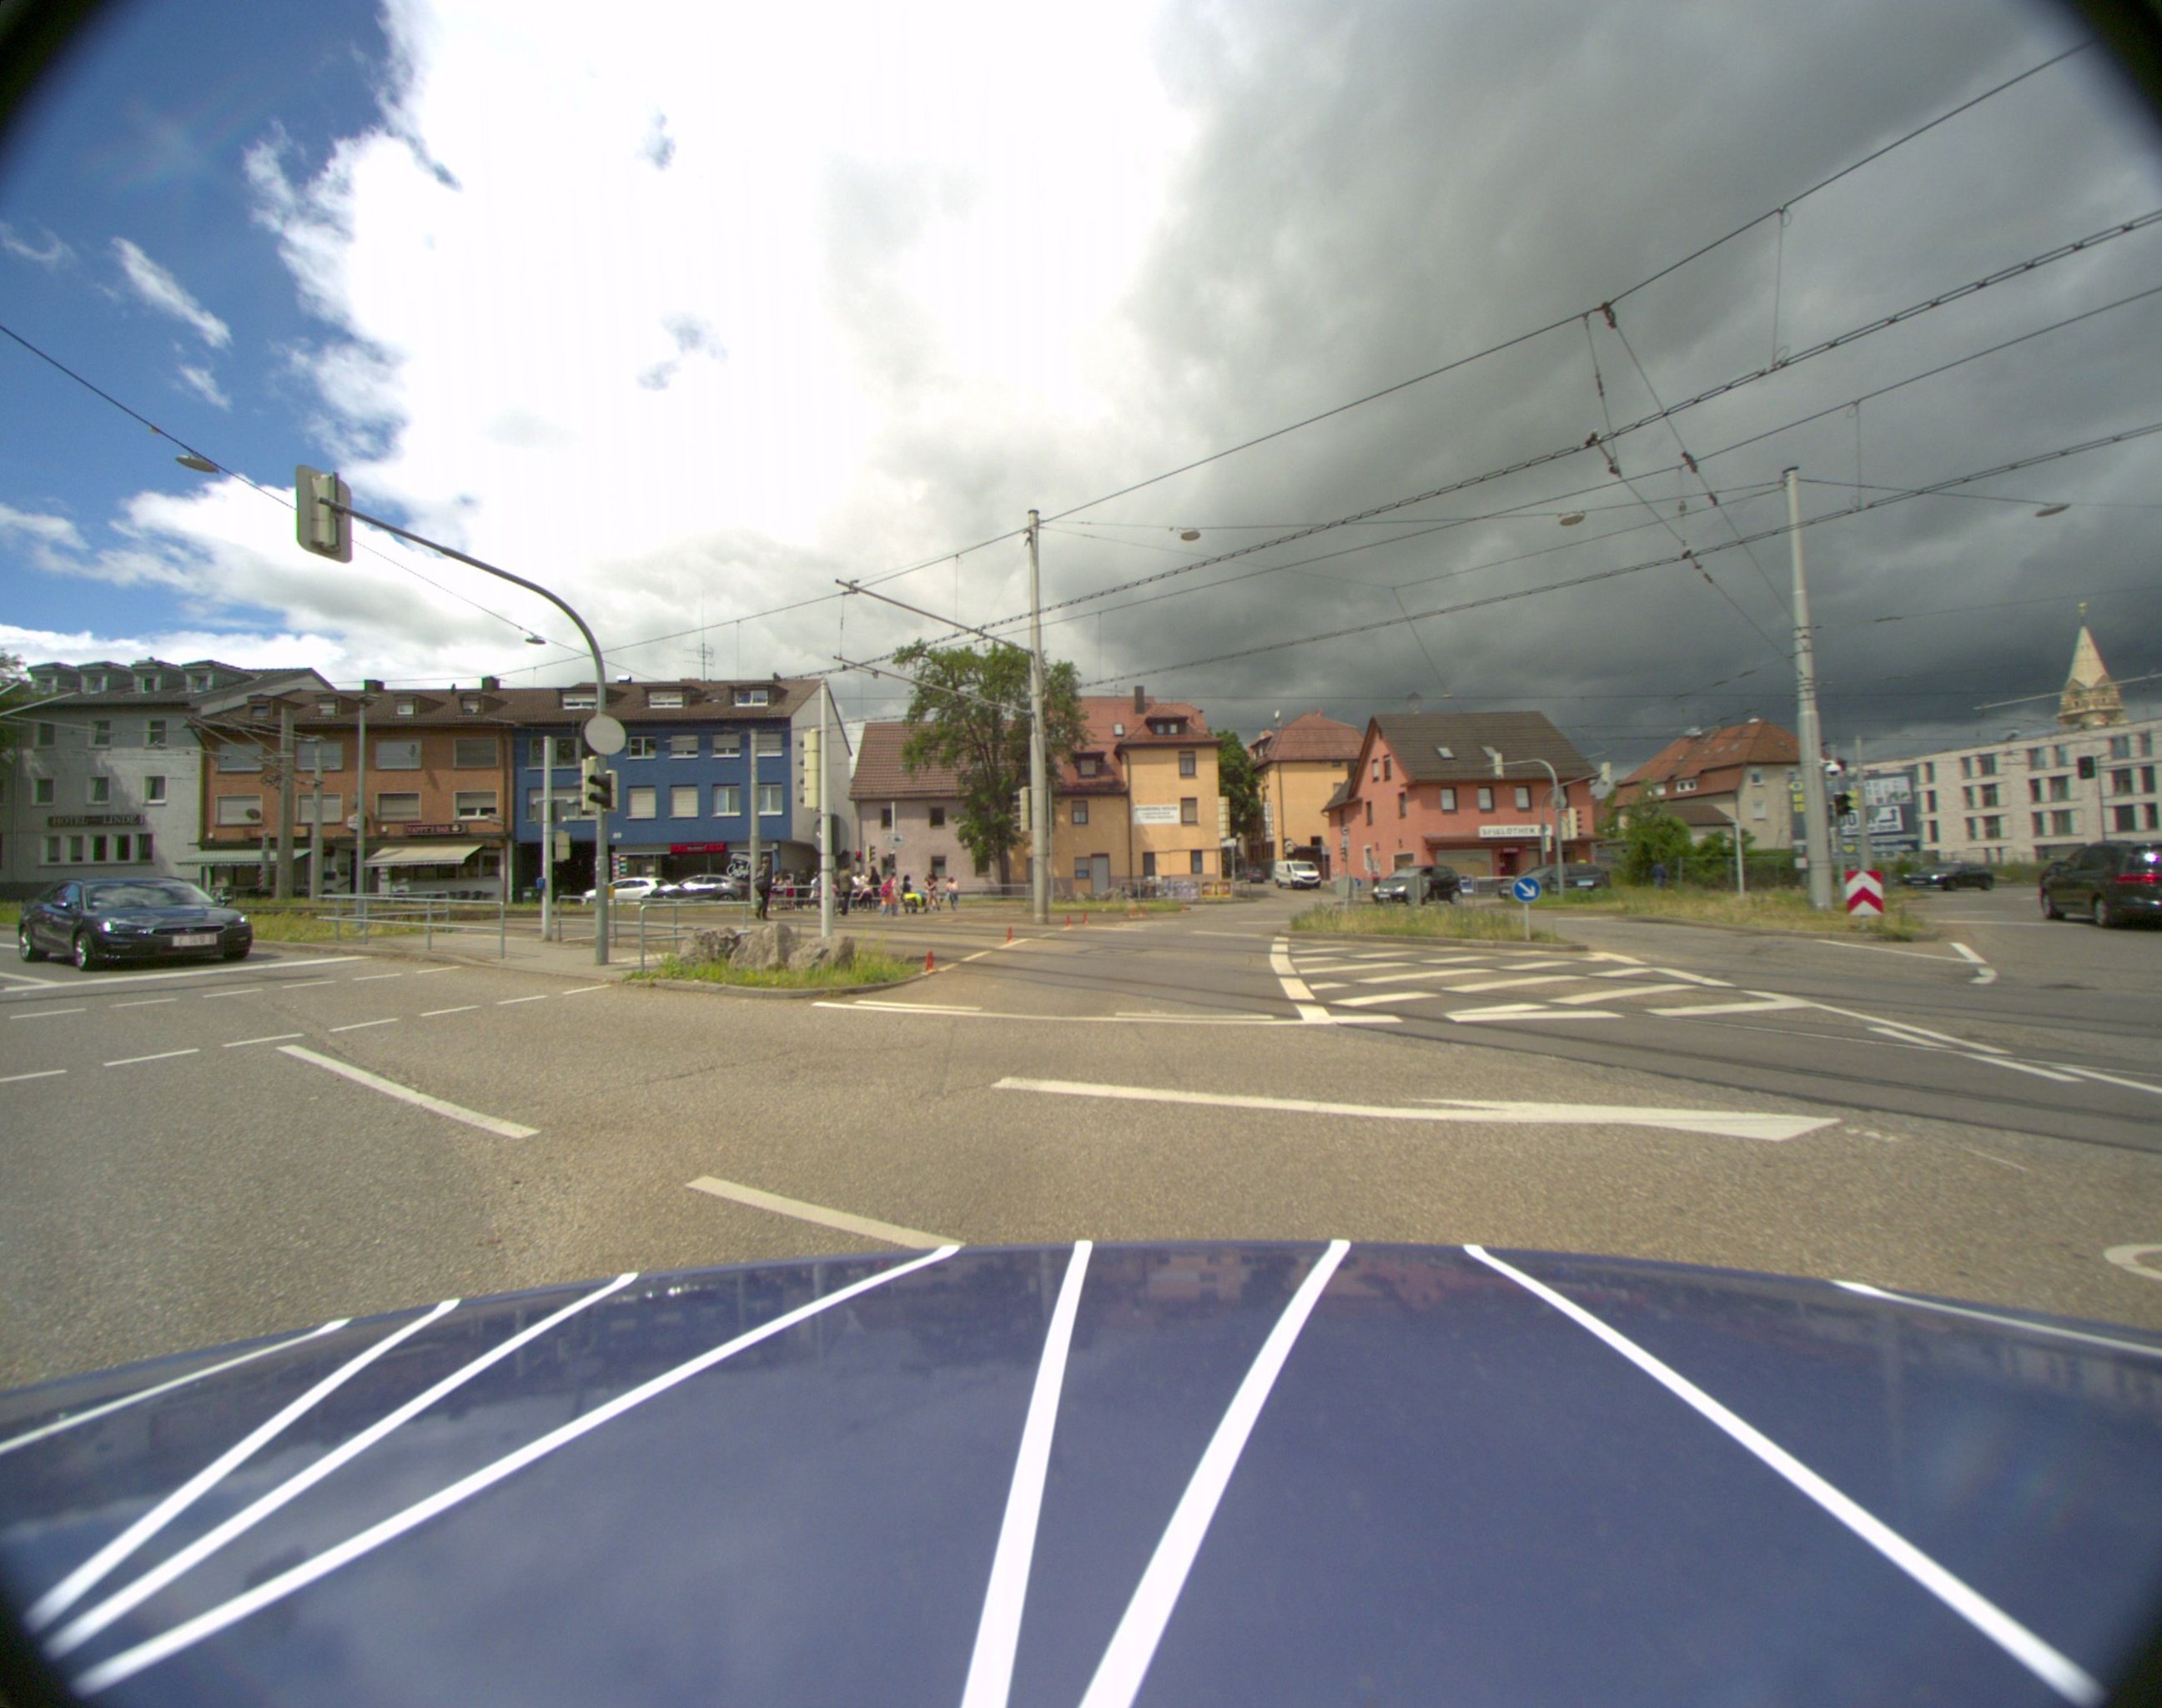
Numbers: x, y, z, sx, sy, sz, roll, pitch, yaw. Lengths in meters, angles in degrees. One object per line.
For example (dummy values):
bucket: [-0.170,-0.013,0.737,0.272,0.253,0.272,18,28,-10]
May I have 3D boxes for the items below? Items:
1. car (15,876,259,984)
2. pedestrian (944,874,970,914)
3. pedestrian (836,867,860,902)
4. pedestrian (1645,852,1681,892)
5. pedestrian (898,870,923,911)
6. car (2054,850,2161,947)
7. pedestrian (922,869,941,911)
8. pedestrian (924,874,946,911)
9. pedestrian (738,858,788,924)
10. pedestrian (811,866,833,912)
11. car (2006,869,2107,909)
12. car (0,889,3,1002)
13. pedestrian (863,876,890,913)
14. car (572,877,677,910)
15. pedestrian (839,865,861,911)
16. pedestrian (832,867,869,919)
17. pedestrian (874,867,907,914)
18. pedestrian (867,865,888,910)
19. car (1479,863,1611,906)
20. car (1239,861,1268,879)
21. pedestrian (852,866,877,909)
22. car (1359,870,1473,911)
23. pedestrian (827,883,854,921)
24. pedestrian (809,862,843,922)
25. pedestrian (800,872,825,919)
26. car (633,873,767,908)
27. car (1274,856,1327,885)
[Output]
car: [-16.140,1.180,12.973,4.083,1.430,1.743,1,2,26]
pedestrian: [-4.566,1.461,28.020,0.781,1.461,0.540,0,-1,-42]
pedestrian: [-9.199,1.201,30.055,0.674,1.367,0.635,-1,-1,10]
pedestrian: [31.166,0.967,40.710,1.127,2.135,1.052,-1,-1,1]
pedestrian: [-6.233,1.324,27.757,0.586,1.483,0.676,-1,0,24]
car: [19.983,0.738,14.070,1.806,1.571,4.305,-1,0,44]
pedestrian: [-5.469,1.296,27.781,0.587,1.518,0.675,-1,0,-3]
pedestrian: [-5.650,1.470,29.379,0.586,1.392,0.676,-1,-1,15]
pedestrian: [-9.107,1.057,21.793,0.824,1.830,0.969,0,-2,24]
pedestrian: [-10.143,1.363,29.787,0.675,1.740,0.587,0,2,-2]
car: [43.682,1.498,34.145,1.948,1.560,4.498,2,1,42]
car: [-16.402,1.226,9.679,4.314,1.456,2.056,-1,0,21]
pedestrian: [-7.776,1.535,28.909,0.779,1.367,0.588,-1,2,10]
car: [-21.885,1.890,36.516,3.998,1.522,1.713,-1,-2,-2]
pedestrian: [-8.826,1.286,29.034,0.675,1.740,0.587,0,2,-2]
pedestrian: [-7.476,1.249,24.614,0.894,1.641,0.824,0,-1,-38]
pedestrian: [-6.143,1.161,24.501,0.856,1.472,0.740,0,-1,-32]
pedestrian: [-7.939,1.308,29.679,0.675,1.740,0.587,0,2,-2]
car: [19.463,1.290,31.977,4.420,1.639,1.999,-1,-2,-9]
car: [14.653,1.380,64.690,1.561,1.362,3.133,-2,-3,-3]
pedestrian: [-8.000,1.253,28.078,0.674,1.555,0.588,-2,-2,11]
car: [13.087,1.410,29.679,4.005,1.419,1.880,-1,-3,-26]
pedestrian: [-7.481,1.477,23.621,0.676,1.160,0.586,0,-1,-32]
pedestrian: [-7.520,1.100,22.394,0.694,1.739,0.750,0,-1,-44]
pedestrian: [-10.171,1.566,28.755,0.754,1.739,0.586,0,-1,-32]
car: [-16.551,1.592,33.169,4.853,1.362,1.920,-2,-2,-3]
car: [15.403,1.142,53.584,2.080,1.886,4.662,-2,-1,-3]
